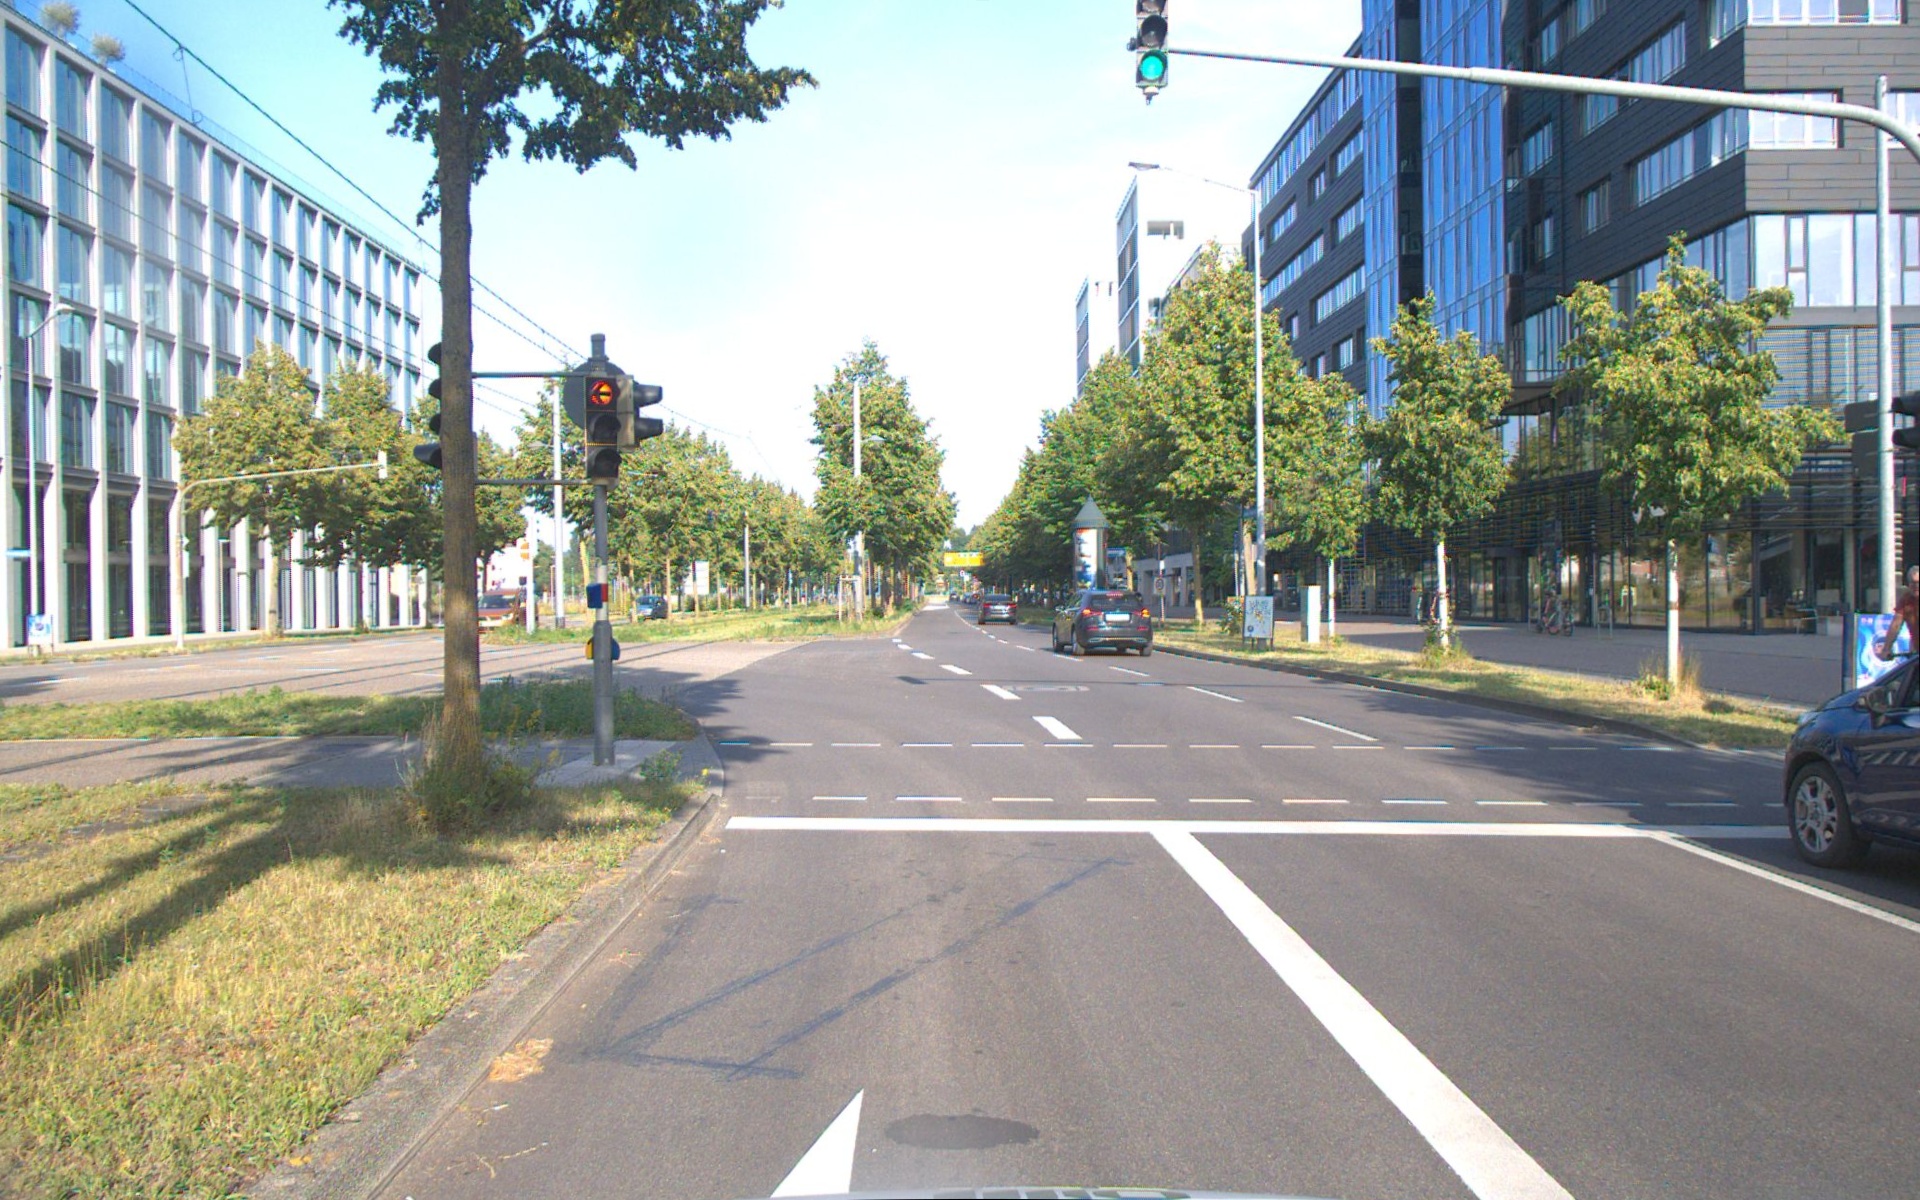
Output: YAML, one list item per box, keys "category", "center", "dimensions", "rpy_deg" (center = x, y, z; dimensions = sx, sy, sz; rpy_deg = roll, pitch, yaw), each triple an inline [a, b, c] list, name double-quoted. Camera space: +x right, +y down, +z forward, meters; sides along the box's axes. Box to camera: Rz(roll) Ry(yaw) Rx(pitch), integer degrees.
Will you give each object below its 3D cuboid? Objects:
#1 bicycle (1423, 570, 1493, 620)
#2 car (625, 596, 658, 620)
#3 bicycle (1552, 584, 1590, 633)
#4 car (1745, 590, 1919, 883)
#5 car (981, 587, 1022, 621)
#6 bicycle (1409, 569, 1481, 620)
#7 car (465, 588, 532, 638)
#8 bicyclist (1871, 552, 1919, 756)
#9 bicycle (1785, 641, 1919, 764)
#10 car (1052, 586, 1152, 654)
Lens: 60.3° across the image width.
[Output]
- category: "bicycle"
  center: [18.347, -0.191, 60.982]
  dimensions: [2.383, 1.776, 0.554]
  rpy_deg: [1, 0, 9]
- category: "car"
  center: [-20.143, 0.486, 104.812]
  dimensions: [1.606, 1.468, 3.952]
  rpy_deg: [1, 0, -4]
- category: "bicycle"
  center: [17.629, 0.247, 47.741]
  dimensions: [0.365, 1.370, 1.894]
  rpy_deg: [1, 0, 0]
- category: "car"
  center: [5.600, 0.707, 7.998]
  dimensions: [1.529, 1.449, 3.904]
  rpy_deg: [1, 1, -4]
- category: "car"
  center: [1.965, 0.199, 78.831]
  dimensions: [1.822, 1.551, 3.785]
  rpy_deg: [1, 0, -1]
- category: "bicycle"
  center: [18.203, -0.211, 62.145]
  dimensions: [2.510, 1.890, 0.570]
  rpy_deg: [1, 0, 9]
- category: "car"
  center: [-17.208, 0.474, 61.847]
  dimensions: [1.651, 1.806, 3.879]
  rpy_deg: [1, 0, -4]
- category: "bicyclist"
  center: [8.390, 0.464, 14.417]
  dimensions: [0.563, 1.736, 0.540]
  rpy_deg: [1, 0, -6]
- category: "bicycle"
  center: [8.348, 0.890, 14.409]
  dimensions: [2.093, 1.030, 0.571]
  rpy_deg: [1, 0, -6]
- category: "car"
  center: [3.191, 0.427, 37.873]
  dimensions: [1.739, 1.449, 3.958]
  rpy_deg: [1, 0, -3]
